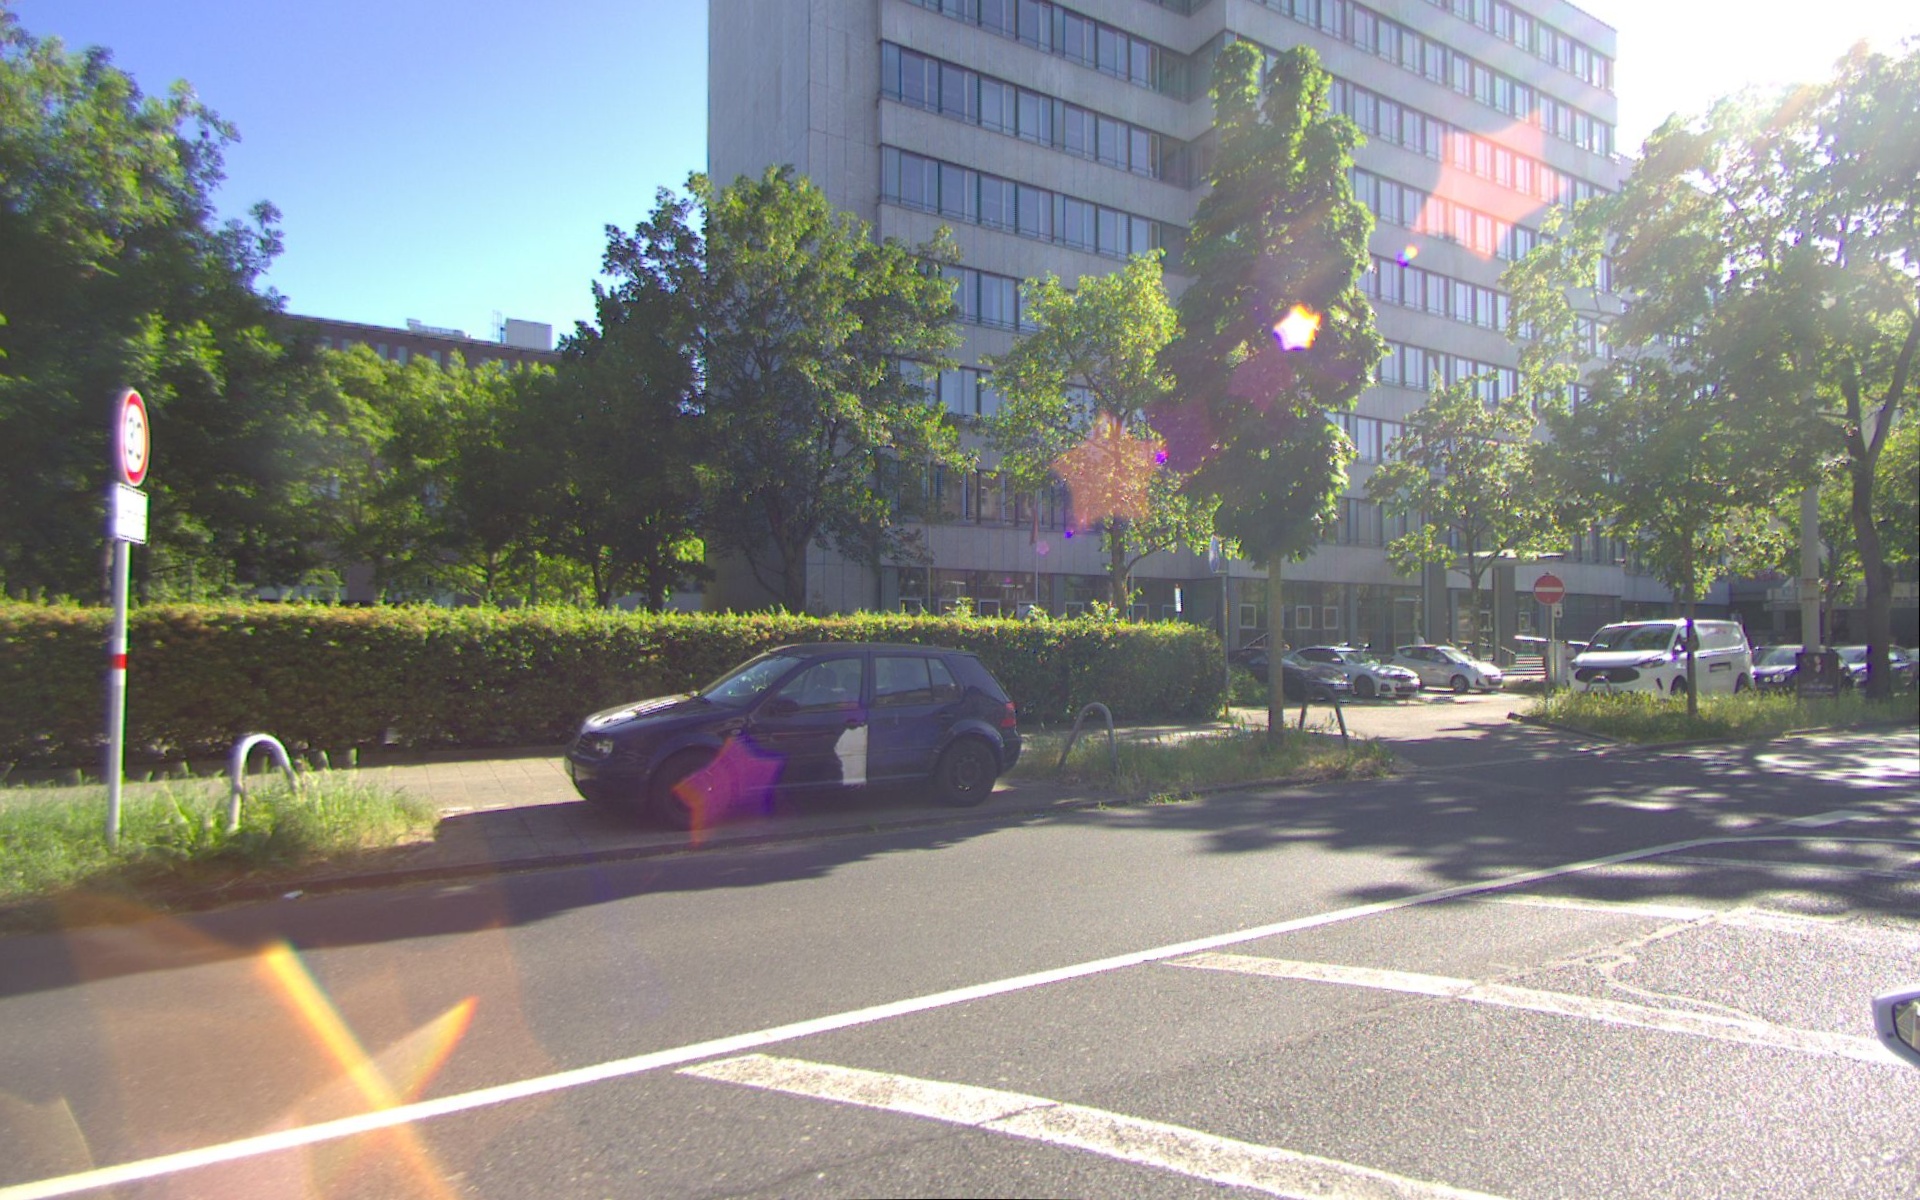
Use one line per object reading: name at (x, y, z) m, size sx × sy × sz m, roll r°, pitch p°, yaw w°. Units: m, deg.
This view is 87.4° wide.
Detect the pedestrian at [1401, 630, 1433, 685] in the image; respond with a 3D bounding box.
pedestrian at (17.910, 2.238, 39.366) m, size 0.782 × 2.121 × 0.768 m, roll 2°, pitch -1°, yaw -29°

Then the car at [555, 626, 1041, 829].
car at (-1.408, 0.997, 9.109) m, size 4.023 × 1.478 × 1.704 m, roll 1°, pitch -2°, yaw -29°

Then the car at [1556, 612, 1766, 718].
car at (15.529, 1.417, 22.159) m, size 5.141 × 2.103 × 1.970 m, roll 2°, pitch -4°, yaw -33°

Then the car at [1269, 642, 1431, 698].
car at (11.761, 2.067, 30.647) m, size 1.911 × 1.461 × 4.600 m, roll 1°, pitch -2°, yaw -25°

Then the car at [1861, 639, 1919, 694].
car at (29.057, 1.971, 30.115) m, size 4.014 × 1.543 × 1.848 m, roll 1°, pitch -2°, yaw -29°

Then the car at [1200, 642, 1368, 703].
car at (9.171, 2.006, 28.881) m, size 1.982 × 1.532 × 4.656 m, roll 1°, pitch -2°, yaw -25°

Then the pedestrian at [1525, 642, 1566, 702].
pedestrian at (20.483, 2.515, 35.152) m, size 0.996 × 2.040 × 0.831 m, roll 2°, pitch -1°, yaw -30°

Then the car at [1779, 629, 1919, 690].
car at (24.360, 1.577, 27.389) m, size 4.269 × 1.543 × 1.846 m, roll 1°, pitch -2°, yaw -31°

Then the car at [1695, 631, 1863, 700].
car at (20.148, 1.555, 24.682) m, size 4.266 × 1.543 × 1.774 m, roll 1°, pitch -2°, yaw -29°

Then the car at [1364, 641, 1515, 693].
car at (16.050, 2.189, 33.809) m, size 1.842 × 1.543 × 4.280 m, roll 1°, pitch -2°, yaw -32°
